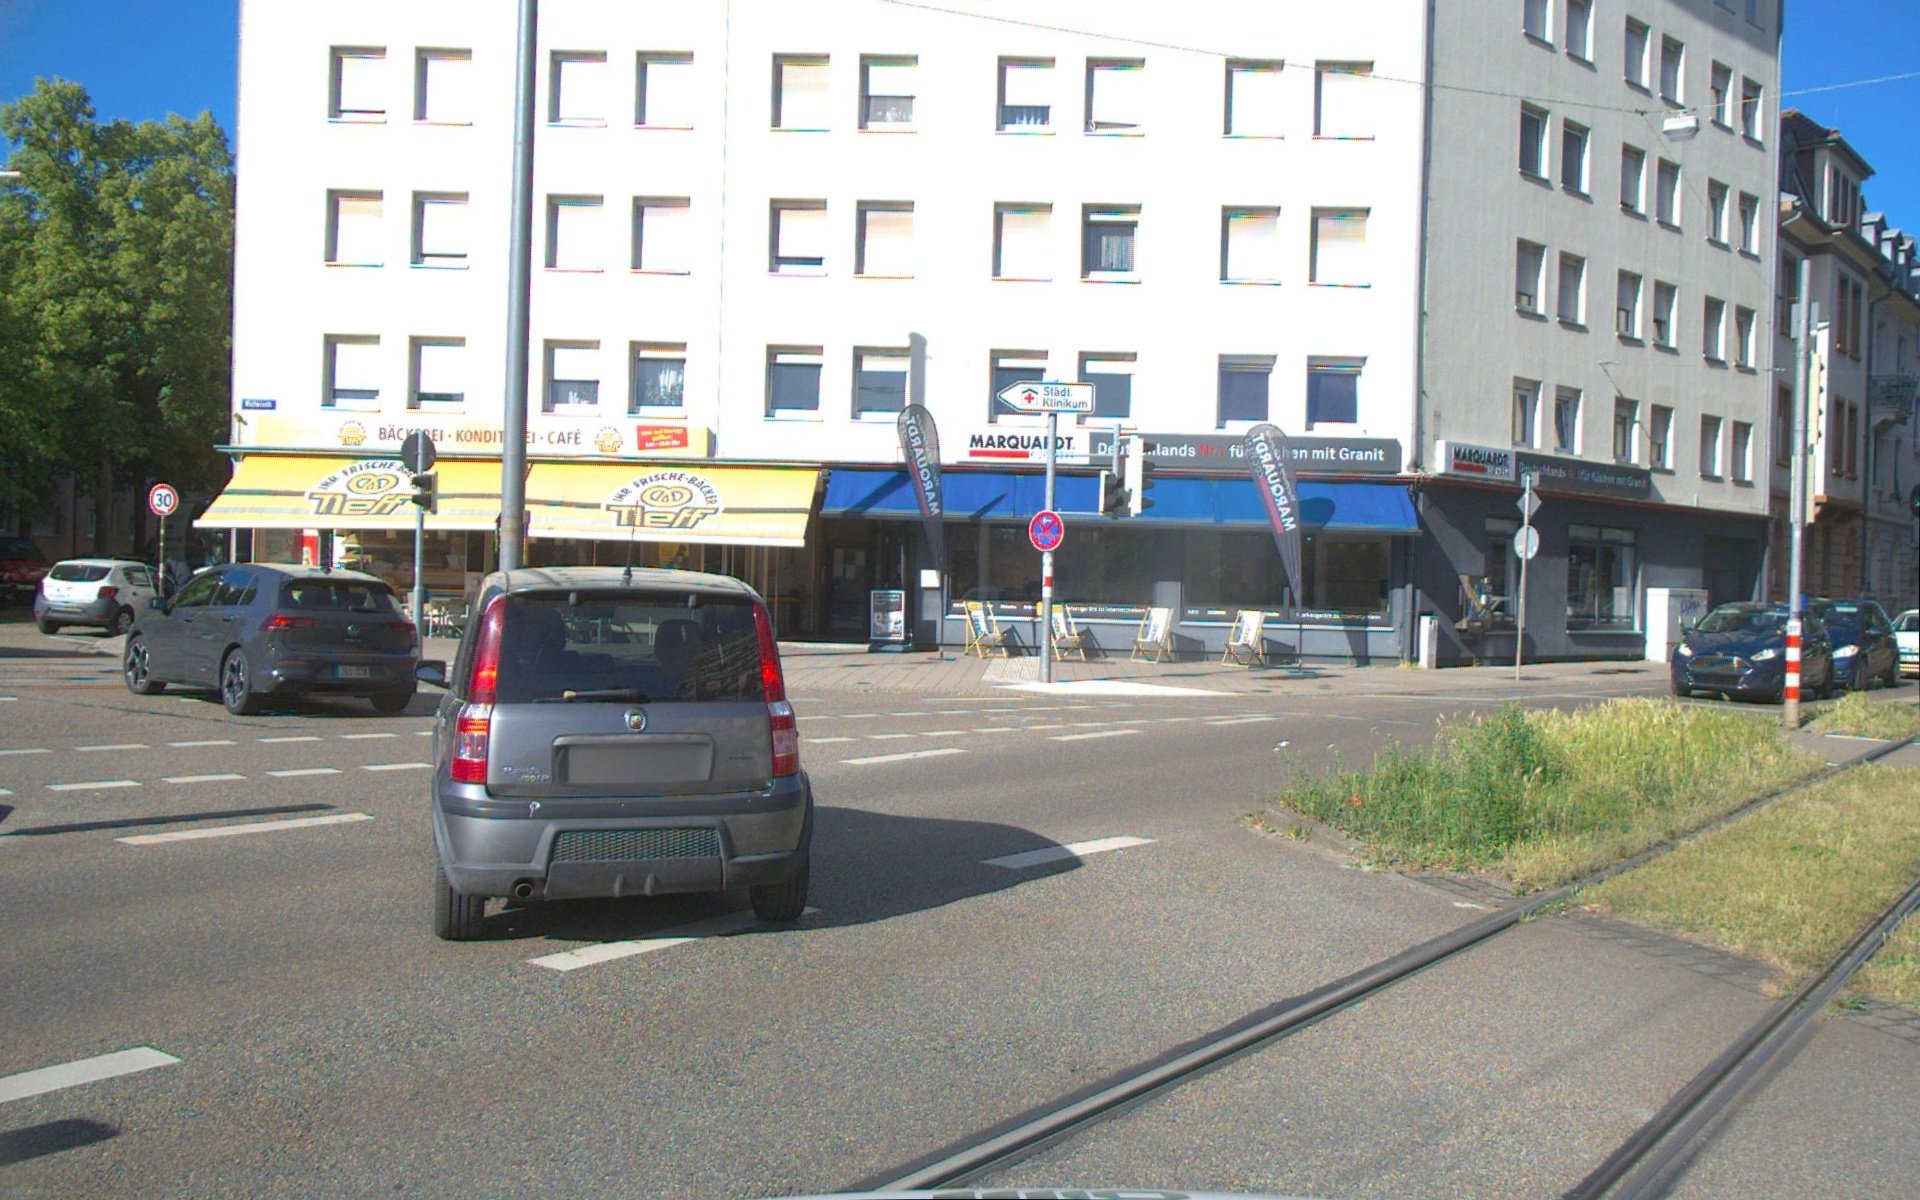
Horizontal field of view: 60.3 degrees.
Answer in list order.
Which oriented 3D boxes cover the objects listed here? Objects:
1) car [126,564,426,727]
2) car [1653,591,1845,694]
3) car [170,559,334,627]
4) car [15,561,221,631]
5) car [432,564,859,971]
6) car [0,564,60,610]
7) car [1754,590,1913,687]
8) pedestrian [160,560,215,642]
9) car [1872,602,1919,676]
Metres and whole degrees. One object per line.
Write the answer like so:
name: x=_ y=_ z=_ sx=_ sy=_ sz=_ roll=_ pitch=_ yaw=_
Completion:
car: x=-7.115 y=0.399 z=17.040 sx=1.614 sy=1.454 sz=3.628 roll=1 pitch=1 yaw=-44
car: x=12.213 y=0.615 z=25.509 sx=1.763 sy=1.420 sz=3.704 roll=2 pitch=1 yaw=40
car: x=-17.191 y=-0.185 z=40.360 sx=1.895 sy=1.539 sz=3.942 roll=2 pitch=1 yaw=7
car: x=-17.464 y=-0.096 z=34.528 sx=1.951 sy=1.333 sz=4.003 roll=1 pitch=1 yaw=5
car: x=-1.690 y=0.618 z=8.045 sx=1.634 sy=1.536 sz=3.235 roll=1 pitch=1 yaw=-18
car: x=-26.730 y=-0.376 z=45.255 sx=3.415 sy=1.211 sz=1.642 roll=1 pitch=1 yaw=-43
car: x=15.900 y=0.664 z=30.031 sx=1.763 sy=1.593 sz=3.745 roll=2 pitch=1 yaw=40
pedestrian: x=-15.926 y=0.017 z=34.113 sx=0.776 sy=1.649 sz=0.829 roll=1 pitch=1 yaw=-5
car: x=20.869 y=0.825 z=35.308 sx=1.763 sy=1.508 sz=3.512 roll=2 pitch=1 yaw=40
